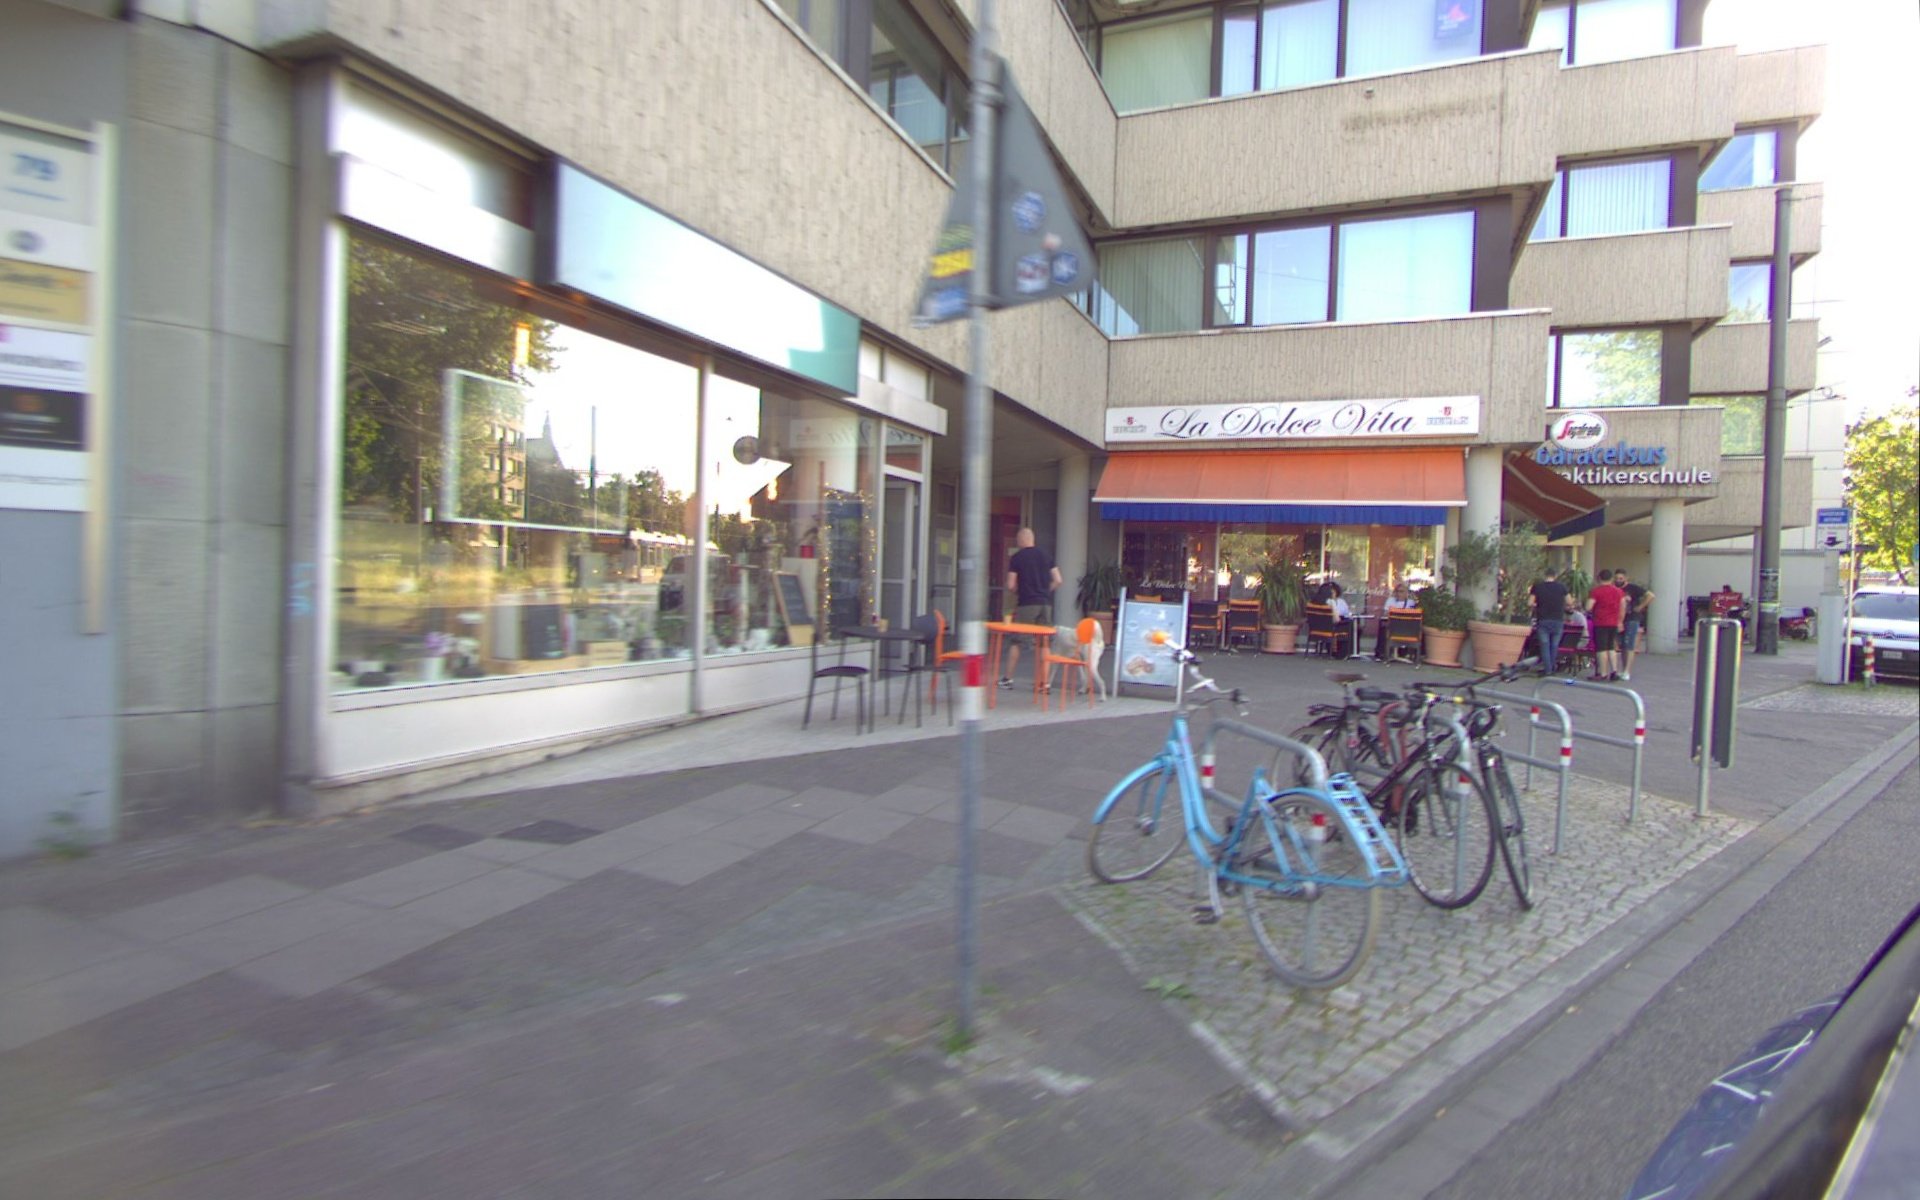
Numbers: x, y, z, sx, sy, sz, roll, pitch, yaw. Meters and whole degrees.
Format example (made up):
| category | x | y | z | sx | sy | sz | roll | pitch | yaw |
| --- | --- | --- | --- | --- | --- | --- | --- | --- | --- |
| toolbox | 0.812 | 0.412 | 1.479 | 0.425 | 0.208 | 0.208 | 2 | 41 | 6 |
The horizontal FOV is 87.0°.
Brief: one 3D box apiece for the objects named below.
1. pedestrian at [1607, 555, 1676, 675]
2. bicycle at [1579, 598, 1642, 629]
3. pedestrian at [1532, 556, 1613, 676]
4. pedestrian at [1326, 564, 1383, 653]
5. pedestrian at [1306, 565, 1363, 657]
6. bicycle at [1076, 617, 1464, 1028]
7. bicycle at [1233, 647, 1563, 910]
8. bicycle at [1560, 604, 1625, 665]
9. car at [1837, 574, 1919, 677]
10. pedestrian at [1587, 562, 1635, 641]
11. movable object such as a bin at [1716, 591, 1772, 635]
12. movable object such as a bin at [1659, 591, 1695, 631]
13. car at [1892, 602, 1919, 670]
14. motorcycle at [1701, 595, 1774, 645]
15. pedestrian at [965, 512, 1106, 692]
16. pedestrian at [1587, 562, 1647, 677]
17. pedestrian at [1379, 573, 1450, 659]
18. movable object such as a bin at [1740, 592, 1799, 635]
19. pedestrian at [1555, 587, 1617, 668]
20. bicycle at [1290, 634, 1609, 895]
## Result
| category | x | y | z | sx | sy | sz | roll | pitch | yaw |
| --- | --- | --- | --- | --- | --- | --- | --- | --- | --- |
| pedestrian | 11.089 | 0.221 | 16.463 | 0.599 | 1.878 | 0.673 | 0 | 4 | -38 |
| bicycle | 21.306 | 0.430 | 33.184 | 0.668 | 0.993 | 1.860 | 1 | 0 | -7 |
| pedestrian | 9.302 | 0.218 | 15.399 | 0.834 | 1.731 | 0.715 | 4 | 2 | 21 |
| pedestrian | 6.611 | 0.130 | 16.938 | 0.835 | 1.420 | 0.824 | 2 | 0 | 24 |
| pedestrian | 5.991 | 0.164 | 16.216 | 0.833 | 1.420 | 0.748 | 0 | 0 | 19 |
| bicycle | 1.138 | 0.729 | 4.123 | 0.645 | 1.258 | 1.630 | 0 | 1 | -21 |
| bicycle | 2.138 | 0.805 | 5.203 | 0.419 | 1.016 | 1.712 | 0 | 1 | -25 |
| bicycle | 11.603 | 0.608 | 18.535 | 1.616 | 1.047 | 0.564 | -1 | 1 | -41 |
| car | 18.509 | 0.417 | 19.448 | 4.236 | 1.835 | 1.996 | -1 | 1 | -42 |
| pedestrian | 15.554 | 0.029 | 24.168 | 0.702 | 1.838 | 0.707 | 0 | 1 | -28 |
| movable object such as a bin | 27.002 | 0.436 | 34.862 | 0.940 | 1.451 | 1.305 | 0 | 1 | -33 |
| movable object such as a bin | 25.809 | 0.371 | 36.419 | 0.836 | 1.400 | 0.795 | 0 | 1 | -33 |
| car | 23.631 | 0.823 | 23.890 | 4.646 | 1.472 | 1.778 | -1 | 1 | -39 |
| motorcycle | 19.870 | 0.490 | 25.859 | 2.007 | 1.168 | 0.767 | -1 | 4 | -32 |
| pedestrian | 0.776 | 0.004 | 10.606 | 1.113 | 1.764 | 1.024 | 0 | 1 | -28 |
| pedestrian | 10.224 | 0.281 | 15.746 | 0.685 | 1.736 | 0.585 | 0 | 1 | -38 |
| pedestrian | 7.361 | 0.239 | 16.399 | 0.839 | 1.307 | 0.820 | 4 | 3 | 37 |
| movable object such as a bin | 28.163 | 0.449 | 35.217 | 1.100 | 1.415 | 1.341 | 0 | 1 | -34 |
| pedestrian | 10.268 | 0.437 | 16.604 | 0.613 | 1.251 | 0.632 | 0 | 4 | -38 |
| bicycle | 2.481 | 0.765 | 5.357 | 0.336 | 1.075 | 1.688 | 0 | 1 | -25 |
